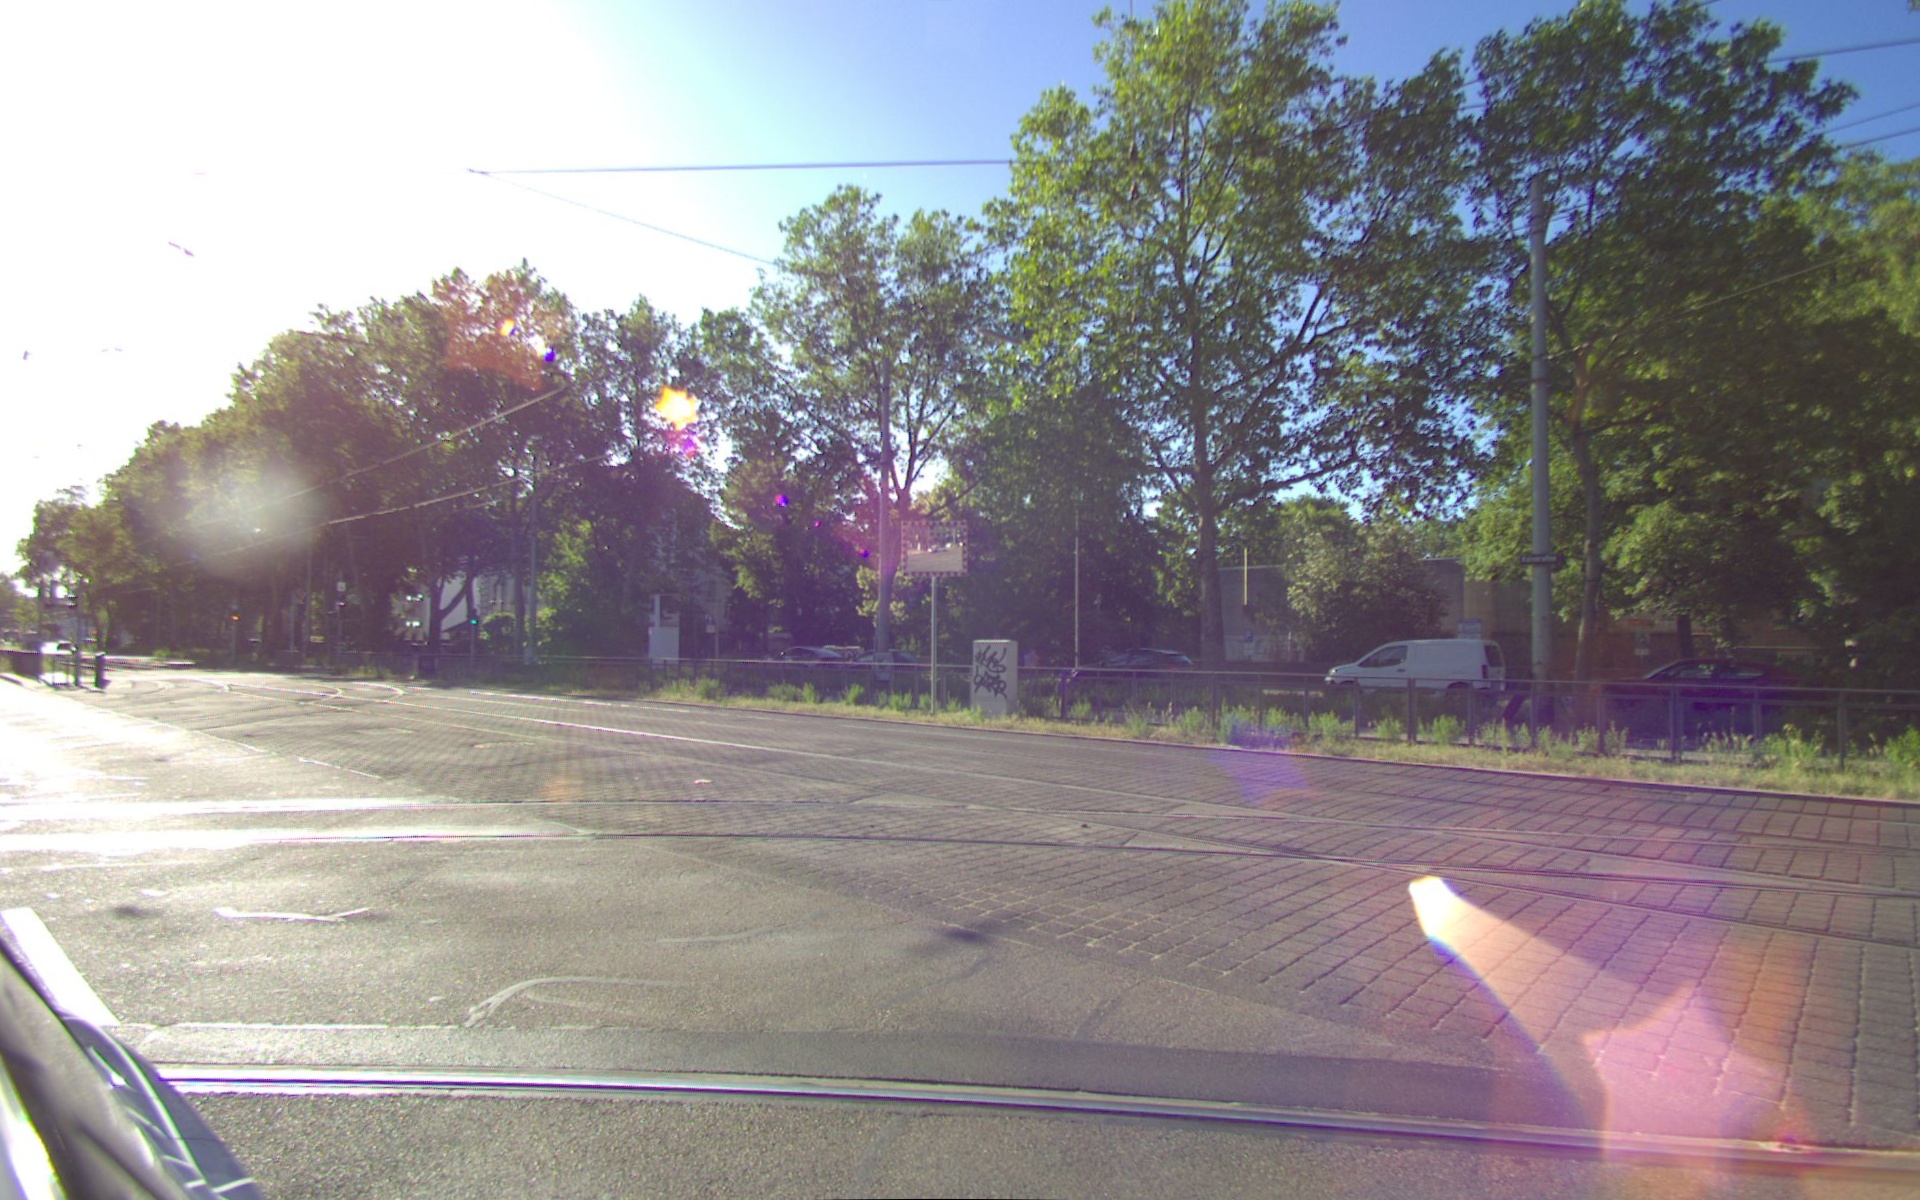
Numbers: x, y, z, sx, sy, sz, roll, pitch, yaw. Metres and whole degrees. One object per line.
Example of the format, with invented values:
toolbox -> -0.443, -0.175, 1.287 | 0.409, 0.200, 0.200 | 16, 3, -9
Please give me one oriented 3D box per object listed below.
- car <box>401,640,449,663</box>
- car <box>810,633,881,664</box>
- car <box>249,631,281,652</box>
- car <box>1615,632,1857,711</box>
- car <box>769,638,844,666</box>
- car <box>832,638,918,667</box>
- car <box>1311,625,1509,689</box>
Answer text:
car -> -37.791, 3.634, 71.449 | 3.754, 1.482, 1.700 | -3, -2, 41
car -> -6.097, 2.586, 53.776 | 3.740, 1.482, 1.722 | -3, -2, 43
car -> -61.665, 3.695, 89.739 | 1.721, 1.806, 3.743 | 2, -5, -44
car -> 16.352, 1.473, 21.456 | 1.573, 1.482, 3.824 | -1, -2, -43
car -> -6.525, 2.206, 42.870 | 3.129, 1.057, 1.483 | -3, -2, 43
car -> -3.373, 2.060, 39.837 | 3.405, 1.037, 1.464 | -3, -2, 43
car -> 11.639, 1.474, 26.352 | 4.347, 1.482, 1.722 | -3, -2, 44
